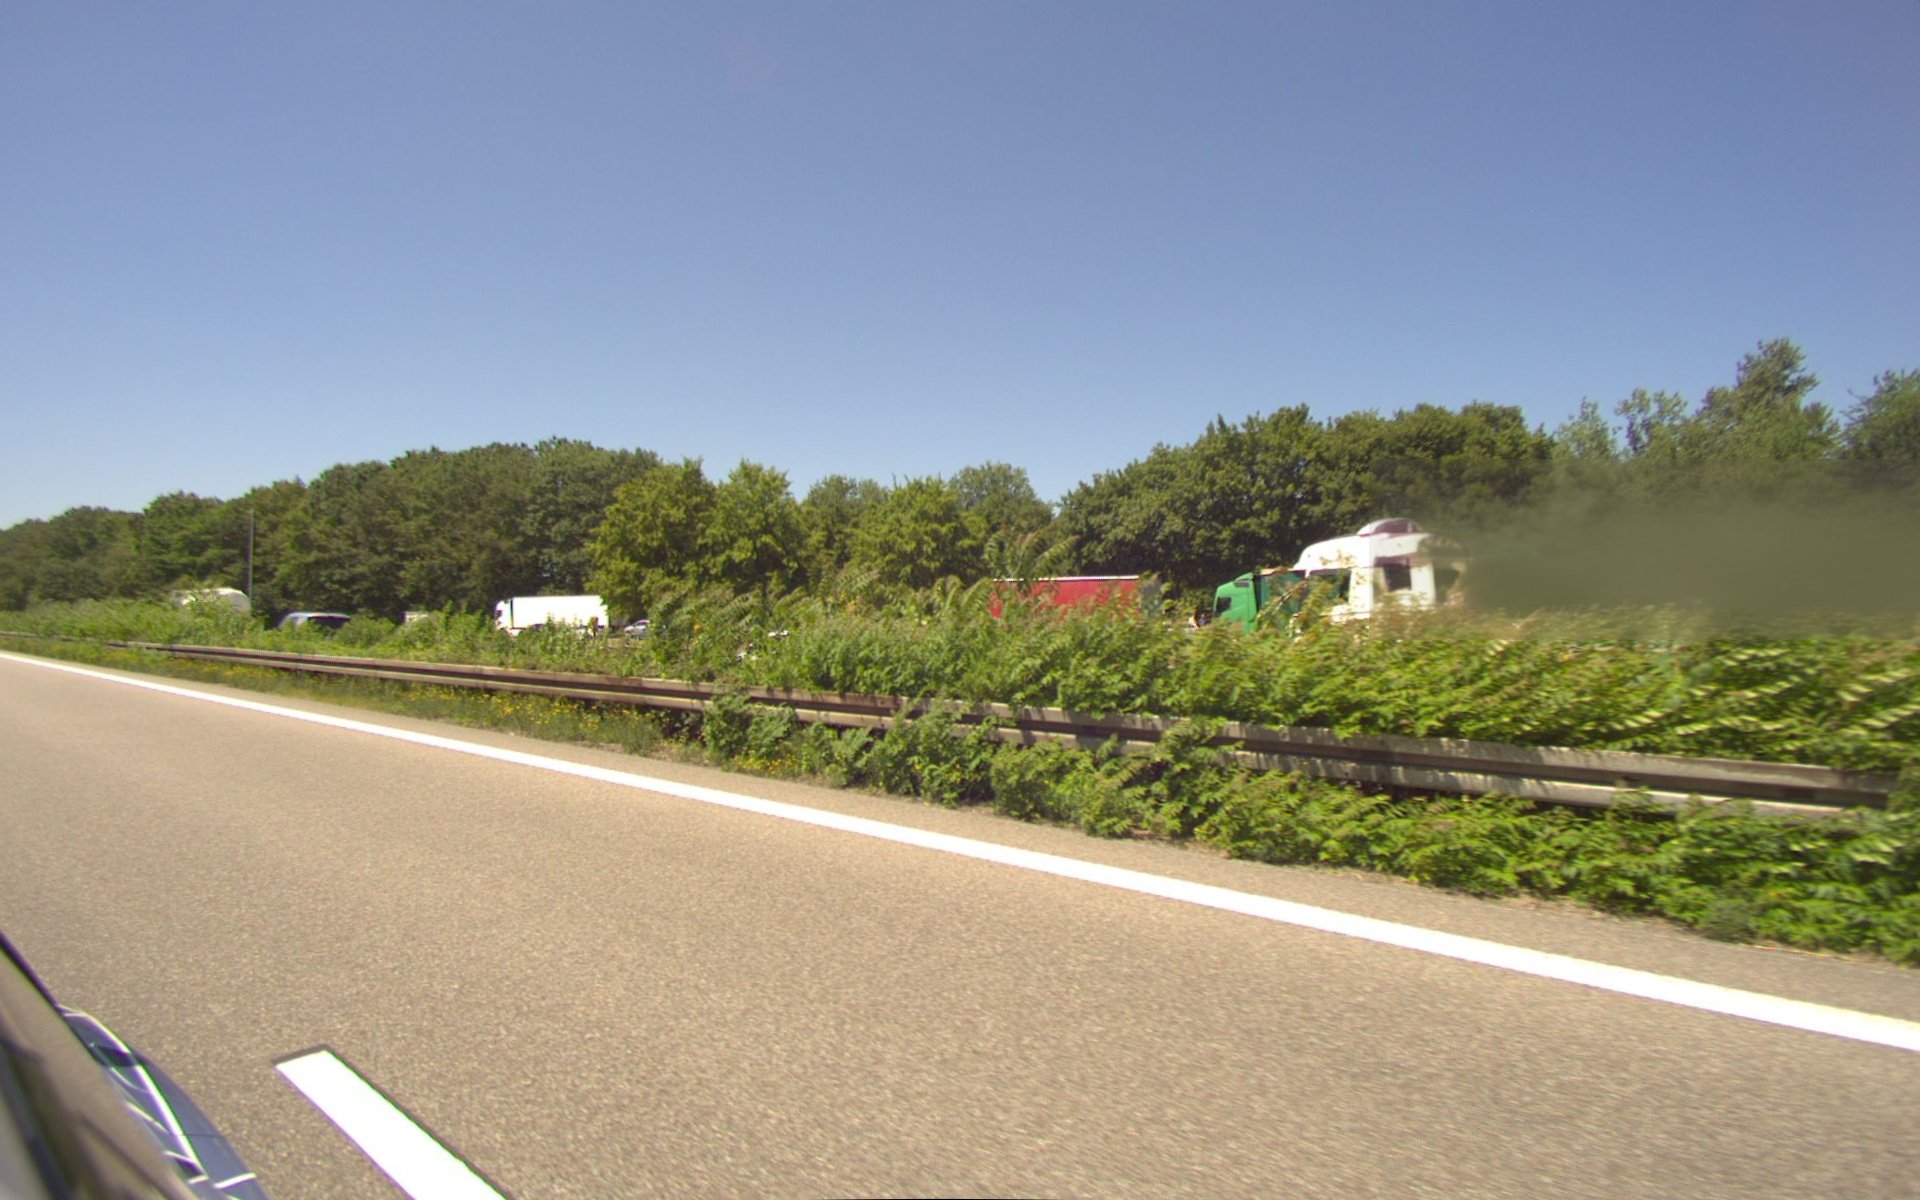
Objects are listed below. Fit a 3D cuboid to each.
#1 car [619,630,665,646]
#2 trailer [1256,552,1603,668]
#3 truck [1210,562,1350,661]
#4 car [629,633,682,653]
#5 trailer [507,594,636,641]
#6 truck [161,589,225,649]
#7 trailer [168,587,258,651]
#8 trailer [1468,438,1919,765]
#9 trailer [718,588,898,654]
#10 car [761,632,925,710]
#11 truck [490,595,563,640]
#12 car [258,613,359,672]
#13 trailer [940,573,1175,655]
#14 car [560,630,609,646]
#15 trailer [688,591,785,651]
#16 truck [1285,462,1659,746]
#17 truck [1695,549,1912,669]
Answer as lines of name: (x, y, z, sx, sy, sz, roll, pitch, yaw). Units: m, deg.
car: (-28.764, 3.418, 91.594, 3.983, 1.467, 1.722, -1, -2, 30)
trailer: (20.912, 0.527, 46.370, 14.021, 4.627, 3.562, -1, -2, 43)
truck: (16.044, 0.630, 50.844, 5.757, 4.627, 3.562, -1, -2, 42)
car: (-23.938, 3.350, 79.416, 3.983, 1.467, 1.722, -1, -2, 30)
trailer: (-37.537, 1.693, 97.499, 13.965, 4.296, 3.576, -1, -2, 30)
truck: (-57.687, 1.439, 76.074, 4.817, 4.296, 2.852, -1, -2, 41)
trailer: (-53.690, 1.362, 72.615, 10.833, 4.296, 2.852, -1, -2, 41)
trailer: (13.791, 0.007, 14.263, 11.482, 4.304, 2.873, -1, 0, 41)
trailer: (-10.976, 1.471, 71.443, 13.991, 4.296, 3.570, -1, -2, 35)
car: (-2.774, 1.580, 23.655, 3.589, 1.583, 1.892, -1, 0, 41)
truck: (-43.137, 1.756, 100.704, 6.243, 4.296, 3.576, -1, -2, 30)
car: (-23.484, 1.472, 36.447, 4.199, 1.939, 1.973, -1, 0, 41)
trailer: (5.324, 0.883, 58.953, 14.004, 4.296, 3.566, -1, -2, 38)
car: (-31.640, 3.159, 85.159, 3.983, 1.298, 1.722, -1, -2, 30)
trailer: (-16.689, 1.557, 75.504, 6.579, 4.296, 3.570, -1, -2, 35)
truck: (9.116, 0.076, 18.271, 5.489, 4.304, 2.873, -1, 0, 40)
truck: (35.501, 0.445, 42.753, 3.558, 4.627, 6.603, 2, -2, -43)
